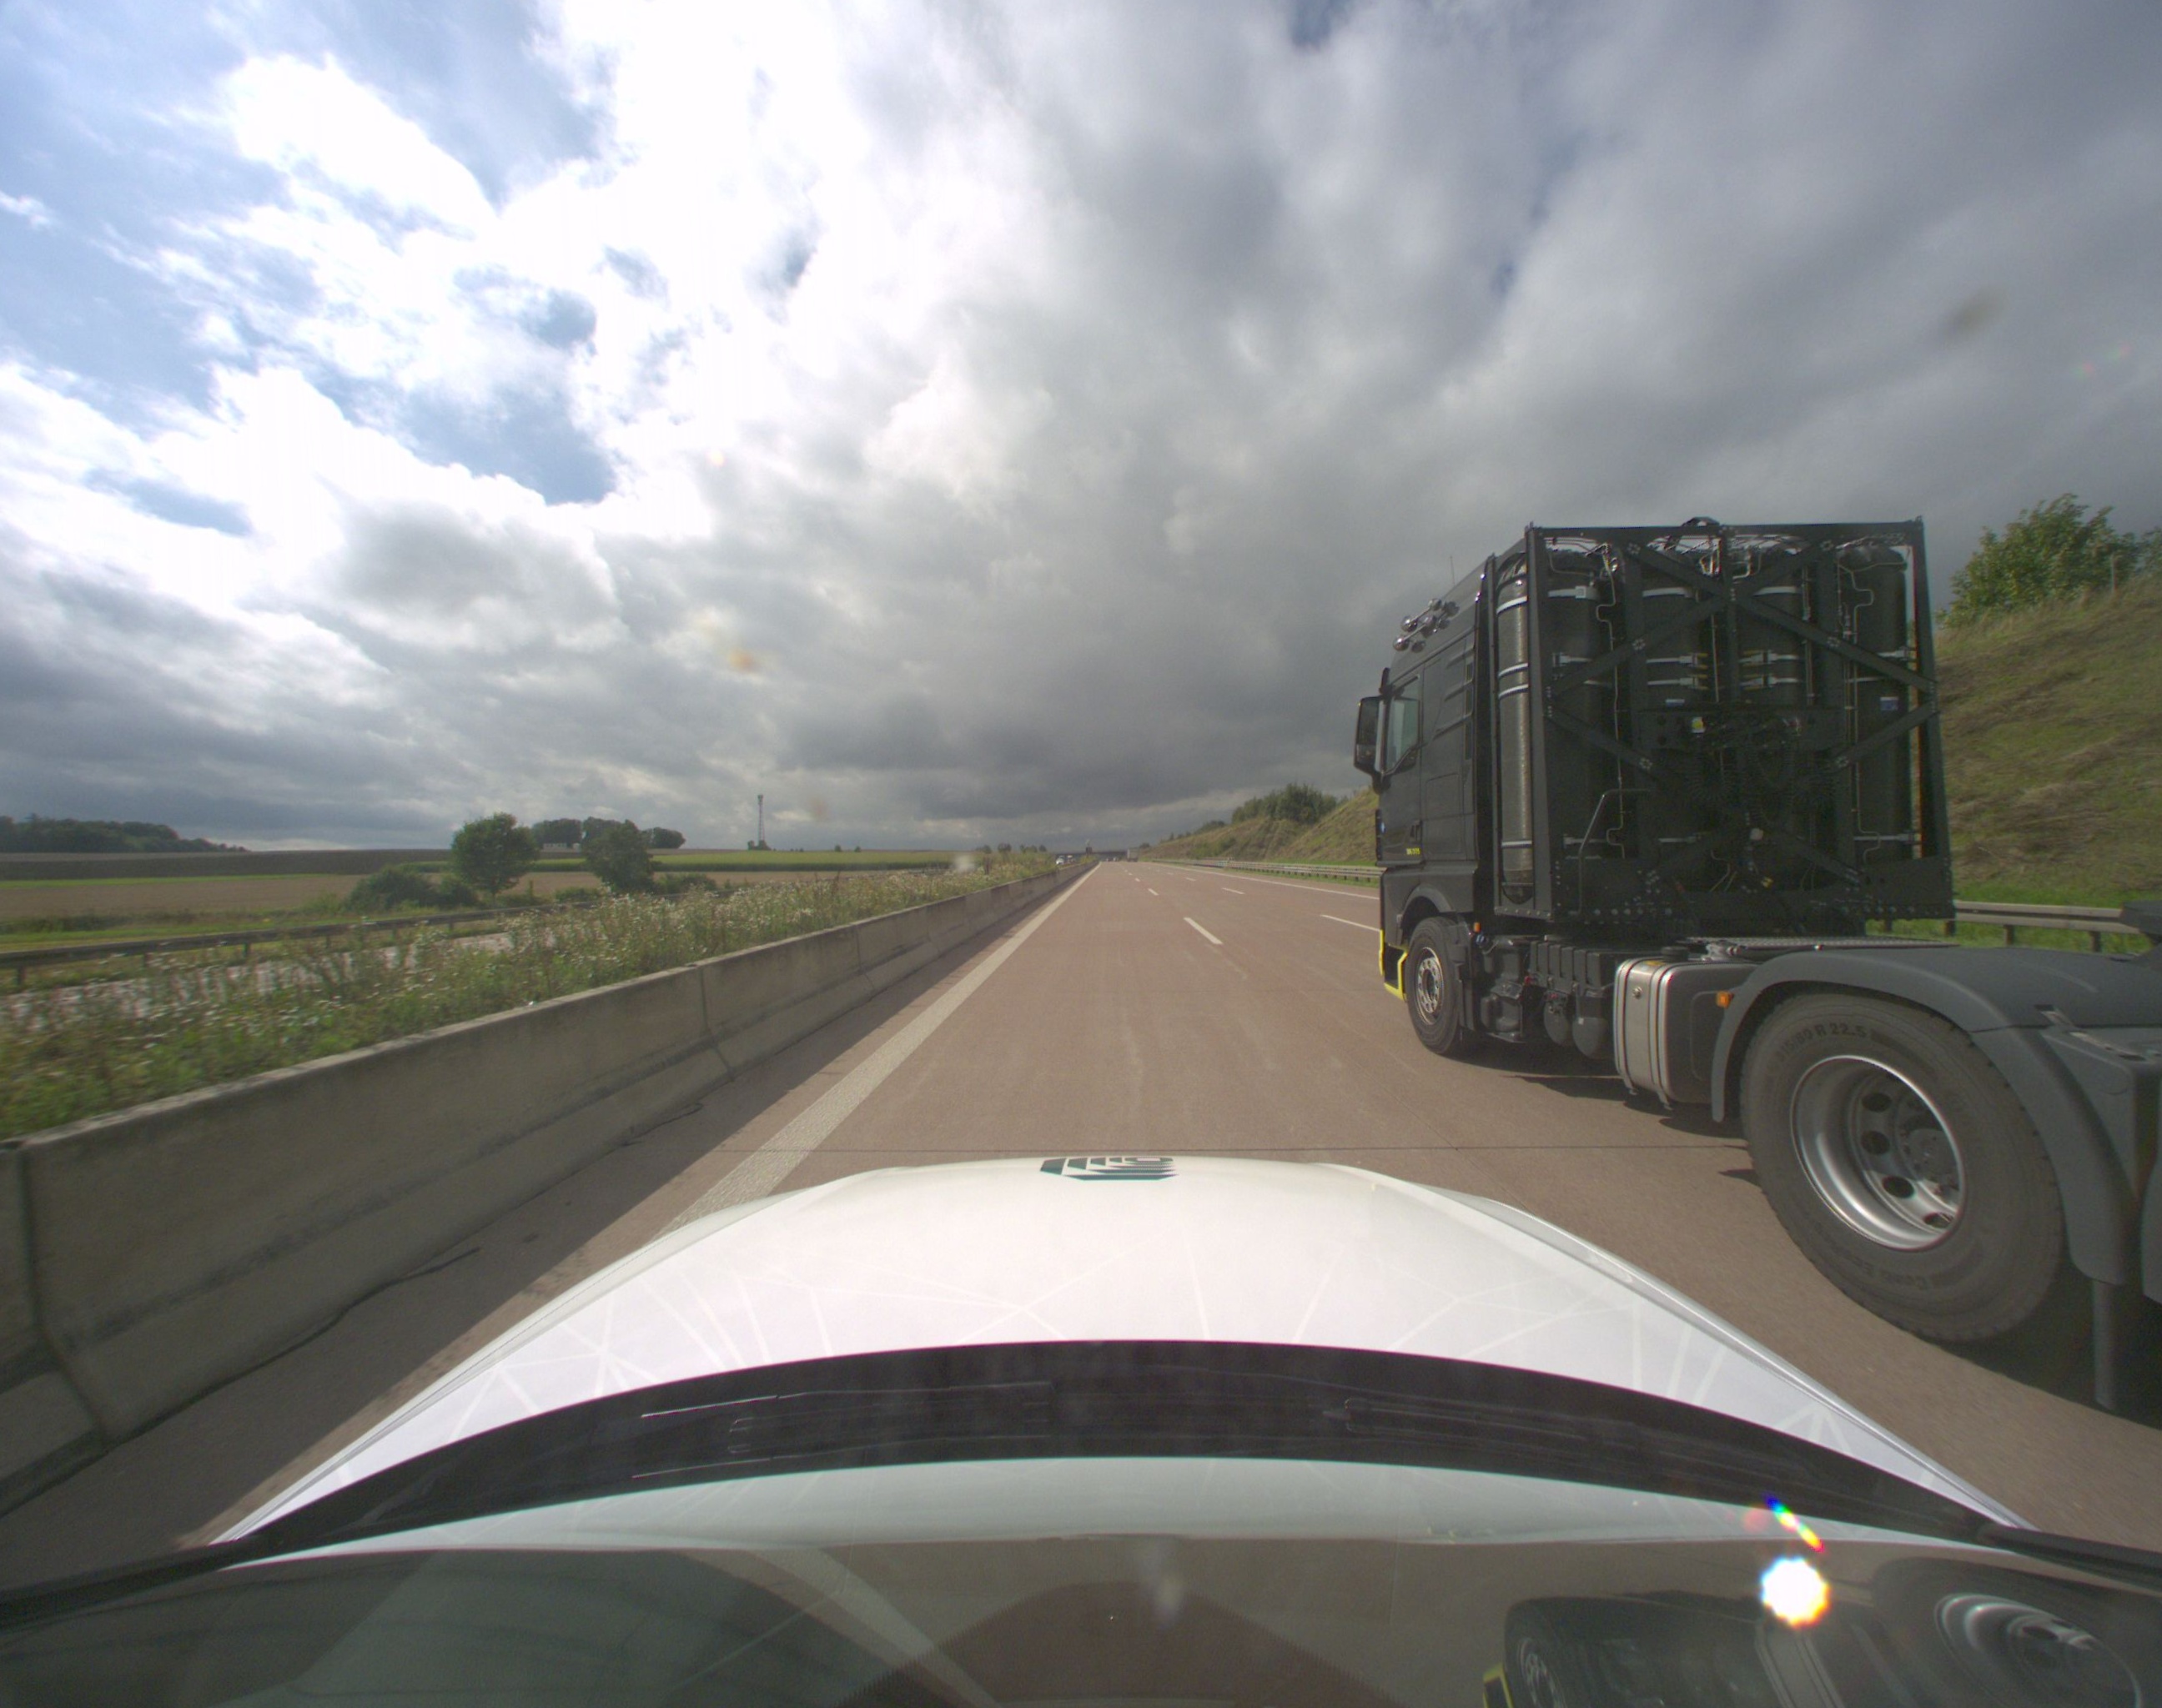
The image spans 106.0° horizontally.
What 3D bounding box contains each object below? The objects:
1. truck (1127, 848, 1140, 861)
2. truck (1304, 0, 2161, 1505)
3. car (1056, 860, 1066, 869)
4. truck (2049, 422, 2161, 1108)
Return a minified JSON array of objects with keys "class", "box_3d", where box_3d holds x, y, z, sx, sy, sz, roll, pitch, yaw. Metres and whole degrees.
[{"class":"truck","box_3d":[15.640,0.135,244.511,3.602,3.945,11.181,0,0,3]},{"class":"truck","box_3d":[3.803,-0.332,4.627,2.838,3.550,8.319,0,-1,0]},{"class":"car","box_3d":[-4.975,2.616,201.503,1.985,2.070,4.716,-2,0,4]},{"class":"truck","box_3d":[7.497,-0.523,2.872,2.740,3.892,4.545,0,-1,0]}]
